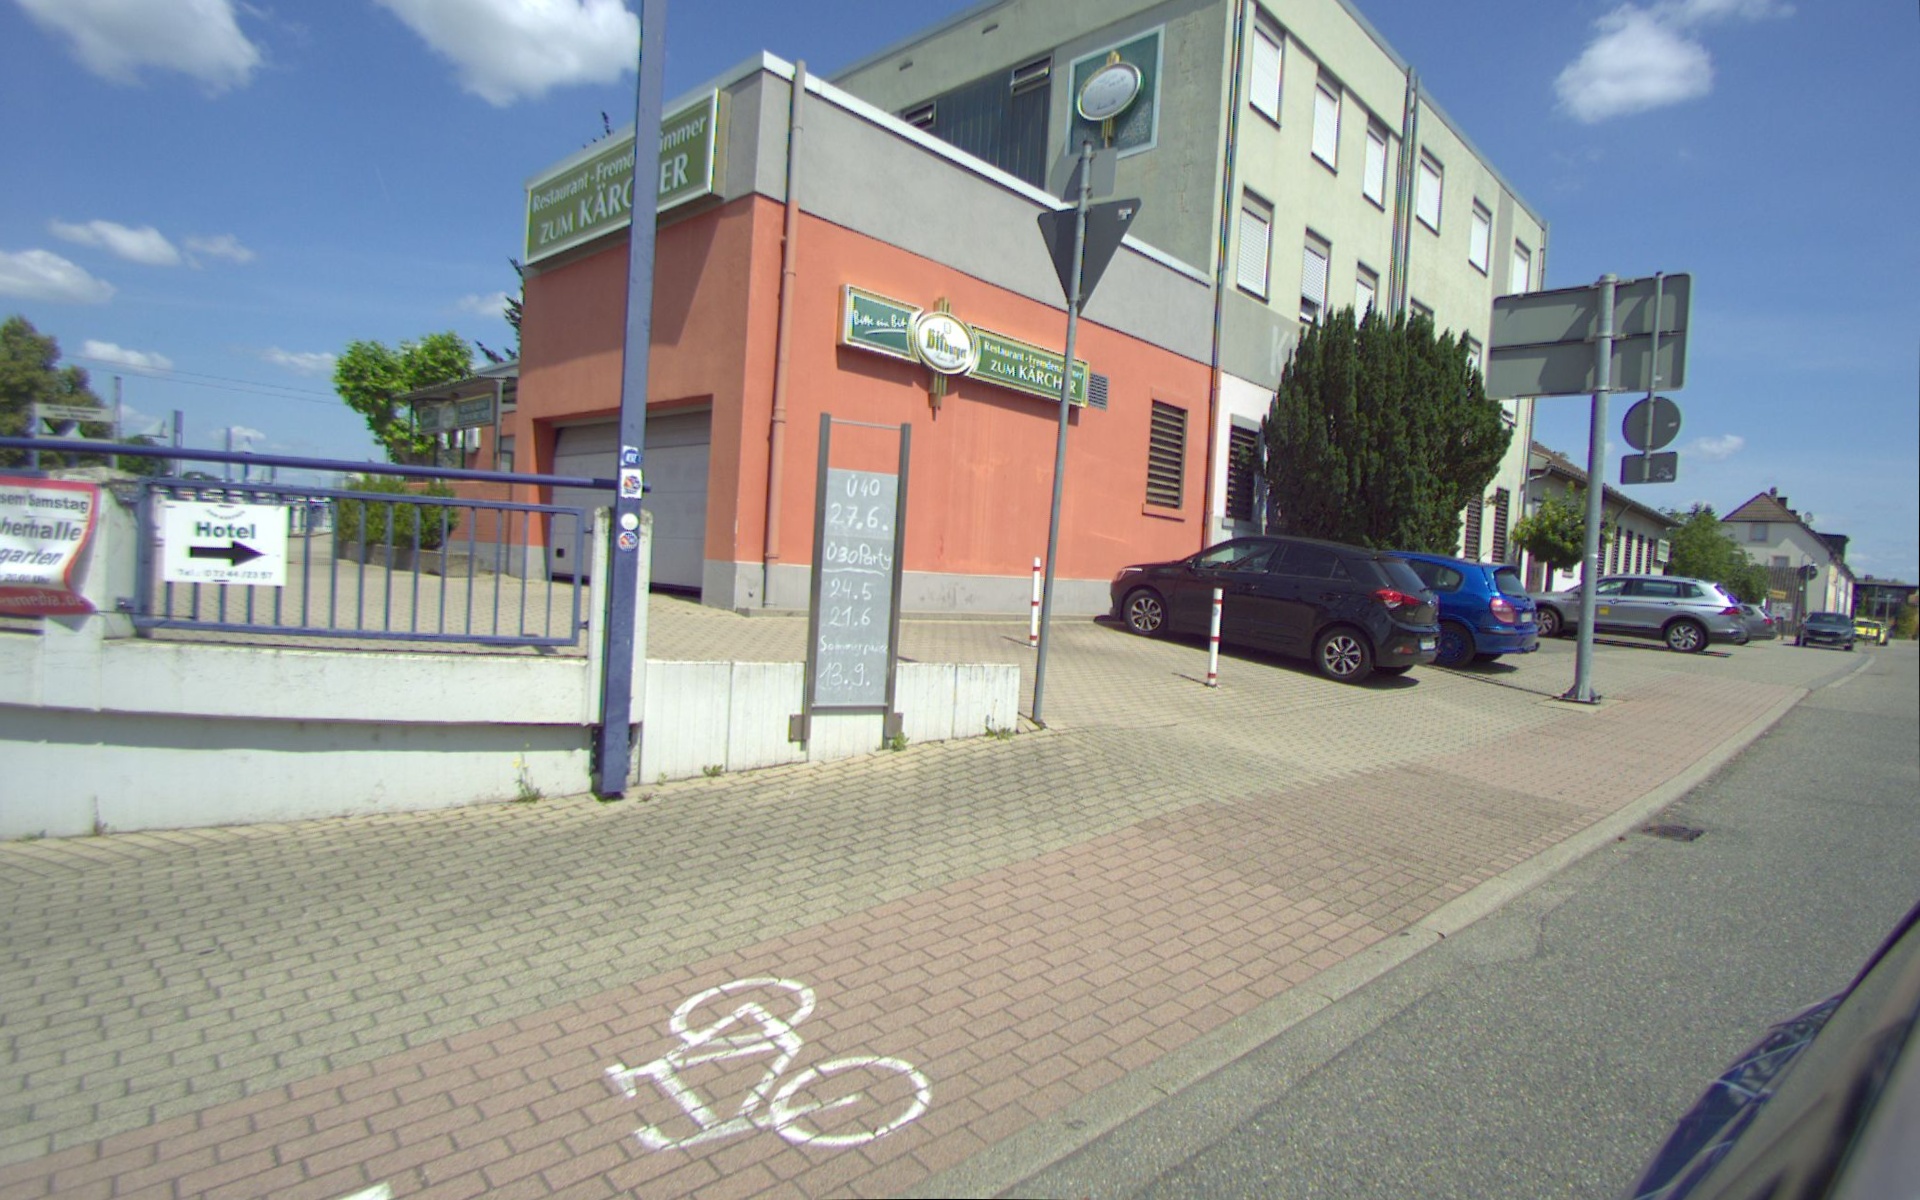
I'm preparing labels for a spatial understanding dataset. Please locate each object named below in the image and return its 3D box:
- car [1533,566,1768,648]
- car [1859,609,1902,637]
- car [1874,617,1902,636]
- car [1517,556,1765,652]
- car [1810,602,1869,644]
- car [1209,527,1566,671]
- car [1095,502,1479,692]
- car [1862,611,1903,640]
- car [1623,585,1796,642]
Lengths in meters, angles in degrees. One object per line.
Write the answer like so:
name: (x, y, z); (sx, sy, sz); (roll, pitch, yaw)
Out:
car: (17.155, 0.128, 25.298); (4.504, 1.538, 1.968); (8, 4, 44)
car: (55.942, 1.418, 61.495); (1.718, 1.414, 4.148); (10, 6, 43)
car: (89.260, 2.519, 97.339); (1.718, 1.517, 4.148); (10, 6, 43)
car: (15.746, 0.043, 23.547); (4.455, 1.717, 1.893); (8, 4, 42)
car: (35.363, 0.917, 40.669); (1.628, 1.507, 4.076); (6, 3, 42)
car: (6.017, -0.138, 14.626); (4.327, 1.456, 1.752); (10, 8, 43)
car: (3.828, -0.164, 12.271); (3.901, 1.506, 1.782); (14, 10, 42)
car: (59.146, 1.636, 64.853); (1.718, 1.517, 4.148); (10, 6, 43)
car: (25.873, 0.436, 35.038); (4.531, 1.471, 1.887); (8, 4, 44)
